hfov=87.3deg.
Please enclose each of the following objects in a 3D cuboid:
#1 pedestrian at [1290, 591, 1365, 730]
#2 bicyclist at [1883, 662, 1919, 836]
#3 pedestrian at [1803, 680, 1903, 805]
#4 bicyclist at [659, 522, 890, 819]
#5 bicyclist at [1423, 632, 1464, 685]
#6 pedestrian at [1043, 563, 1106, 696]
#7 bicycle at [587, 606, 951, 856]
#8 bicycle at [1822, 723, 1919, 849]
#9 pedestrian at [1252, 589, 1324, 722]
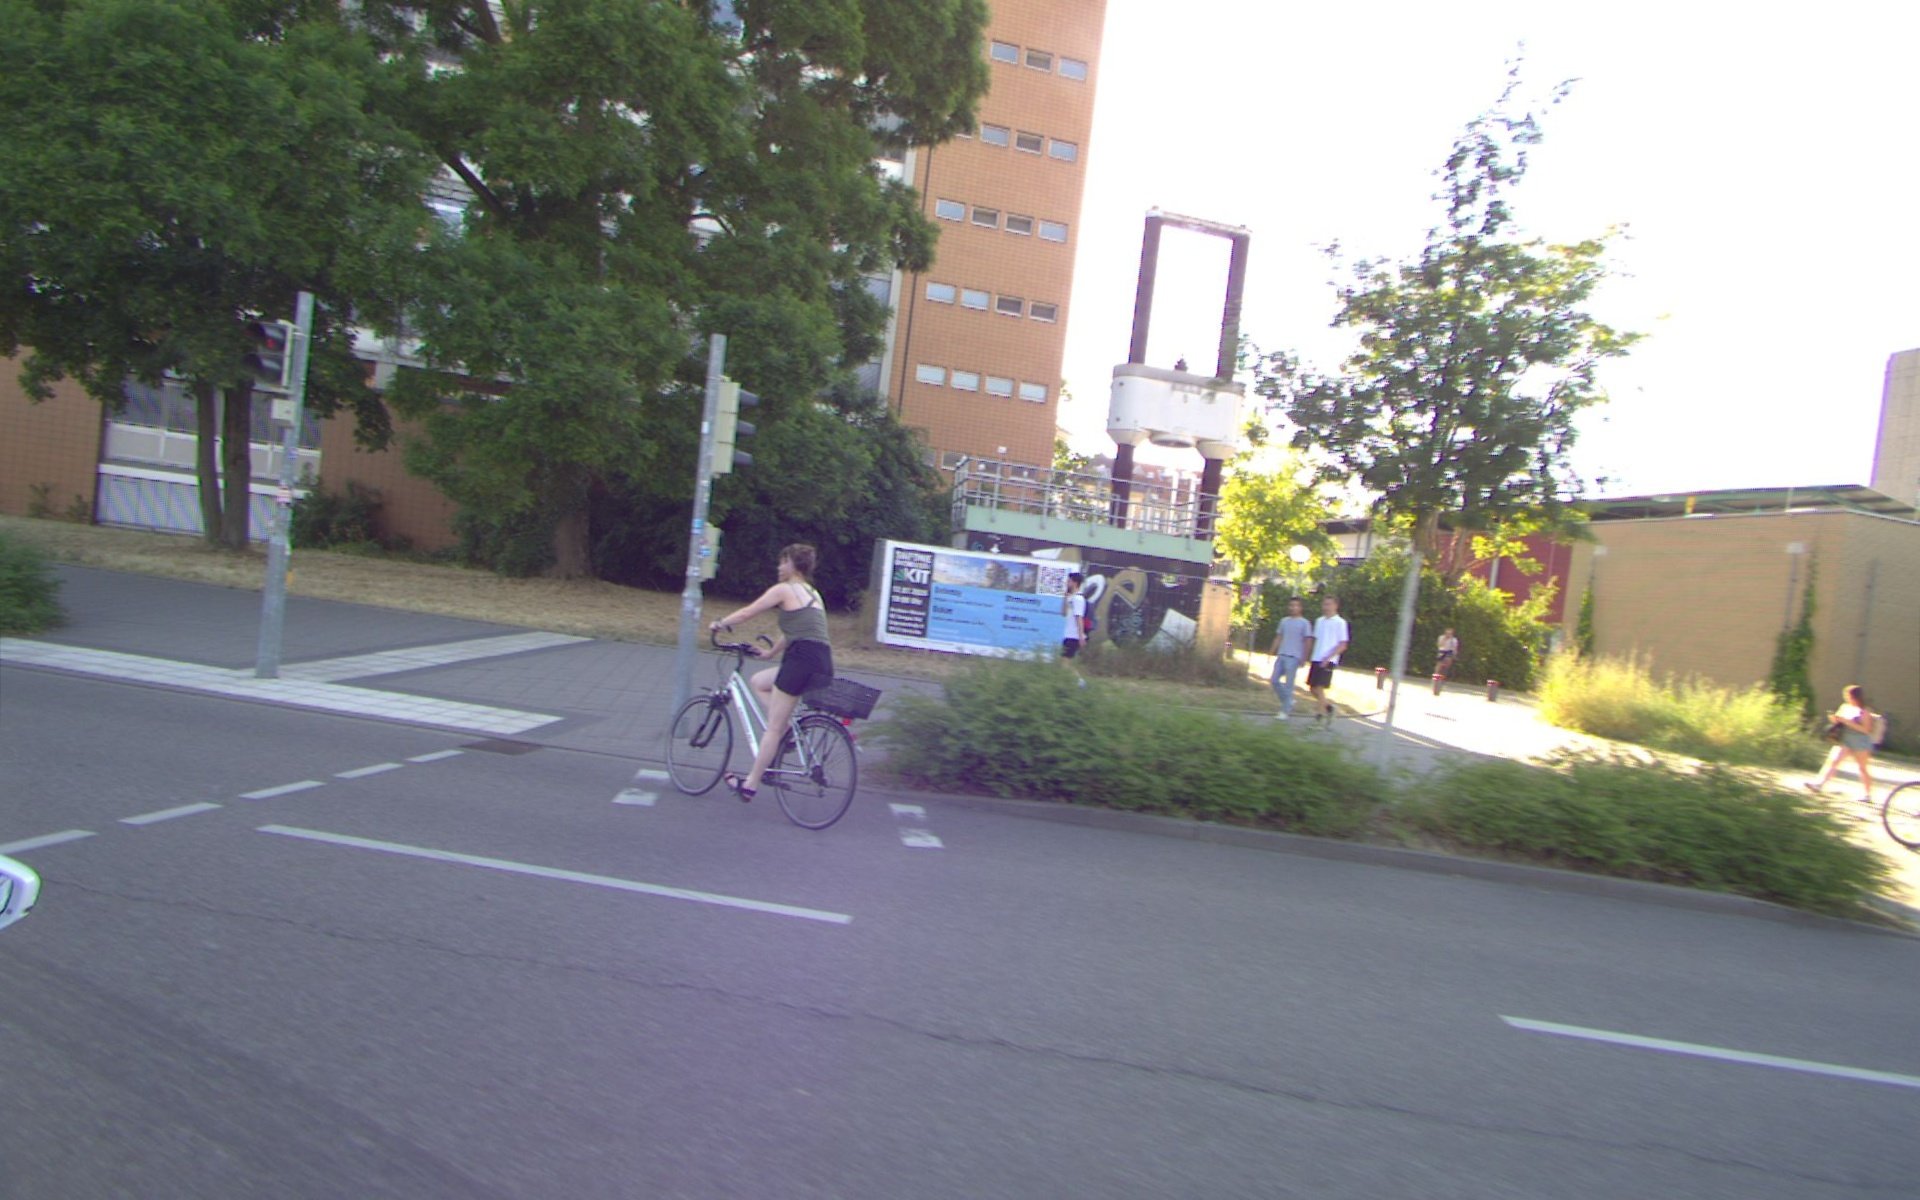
[{"bbox_3d":[5.257,0.856,14.394,0.614,1.894,0.573,8,3,44],"label":"pedestrian"},{"bbox_3d":[10.920,1.675,10.787,1.072,1.854,0.780,7,2,3],"label":"bicyclist"},{"bbox_3d":[12.478,1.980,14.067,0.628,1.595,0.621,6,2,-7],"label":"pedestrian"},{"bbox_3d":[-1.211,0.426,6.619,1.074,1.699,0.779,8,2,27],"label":"bicyclist"},{"bbox_3d":[14.460,1.730,30.096,0.611,1.452,0.917,9,1,4],"label":"bicyclist"},{"bbox_3d":[1.562,0.395,13.846,0.618,1.721,0.622,7,2,2],"label":"pedestrian"},{"bbox_3d":[-1.296,0.778,6.653,2.251,1.171,0.779,8,2,27],"label":"bicycle"},{"bbox_3d":[10.815,2.099,10.807,2.248,1.171,0.780,7,2,3],"label":"bicycle"},{"bbox_3d":[4.890,0.824,14.993,0.614,1.894,0.573,8,3,44],"label":"pedestrian"}]
